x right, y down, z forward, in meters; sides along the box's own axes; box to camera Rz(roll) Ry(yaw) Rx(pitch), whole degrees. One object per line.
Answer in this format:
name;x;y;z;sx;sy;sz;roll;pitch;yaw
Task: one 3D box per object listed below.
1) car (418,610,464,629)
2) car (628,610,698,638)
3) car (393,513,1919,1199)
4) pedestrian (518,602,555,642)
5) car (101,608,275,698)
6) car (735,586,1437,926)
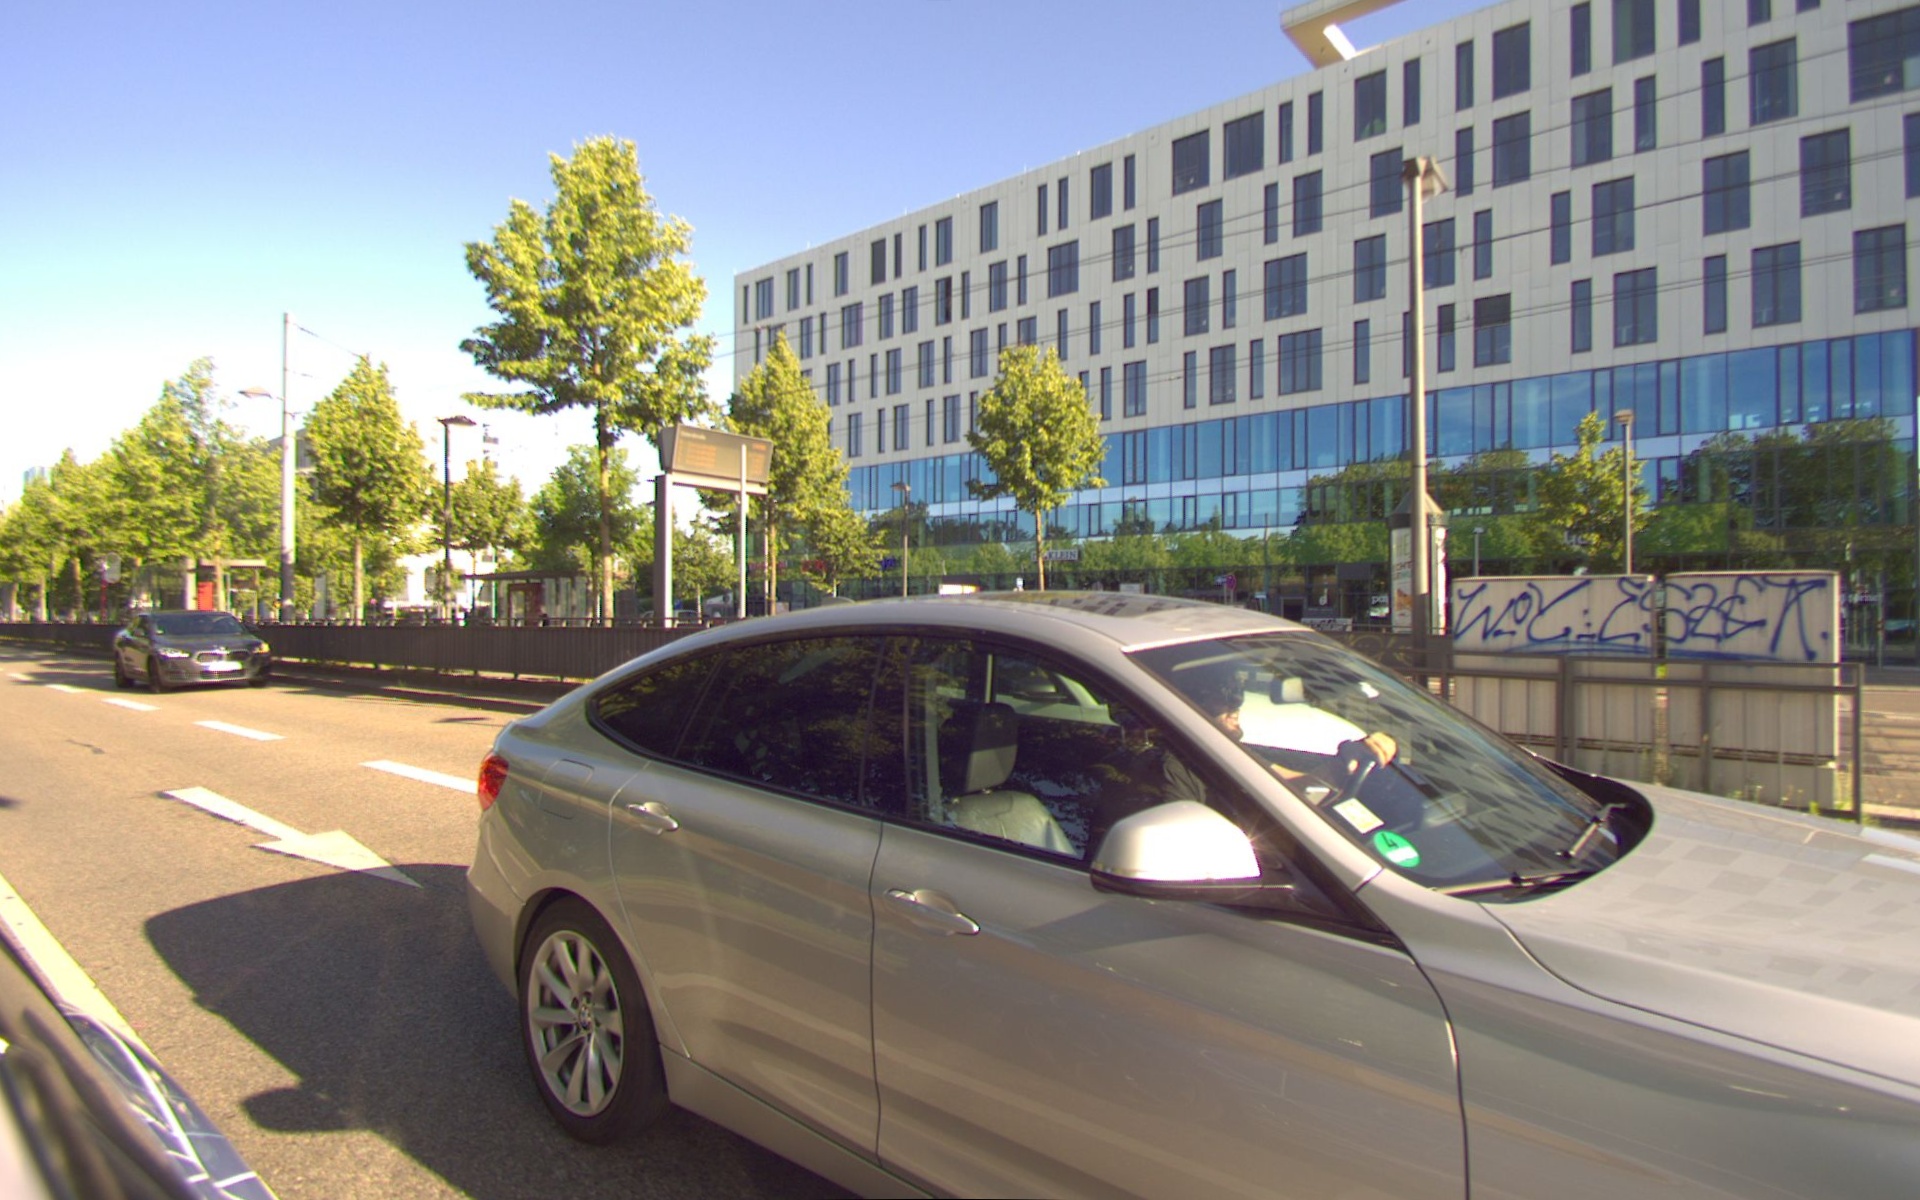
car;-40.381;1.532;78.650;3.999;1.365;1.851;-1;0;42
car;-17.198;1.374;58.487;4.339;1.538;1.781;-1;0;40
car;0.615;0.678;2.515;4.904;1.538;1.781;-1;0;38
pedestrian;-16.356;0.843;39.089;1.054;1.477;0.844;0;-1;-45
car;-15.235;0.970;19.901;4.339;1.538;1.781;-1;0;40
car;0.568;0.679;6.217;4.001;1.437;1.655;-1;0;39
